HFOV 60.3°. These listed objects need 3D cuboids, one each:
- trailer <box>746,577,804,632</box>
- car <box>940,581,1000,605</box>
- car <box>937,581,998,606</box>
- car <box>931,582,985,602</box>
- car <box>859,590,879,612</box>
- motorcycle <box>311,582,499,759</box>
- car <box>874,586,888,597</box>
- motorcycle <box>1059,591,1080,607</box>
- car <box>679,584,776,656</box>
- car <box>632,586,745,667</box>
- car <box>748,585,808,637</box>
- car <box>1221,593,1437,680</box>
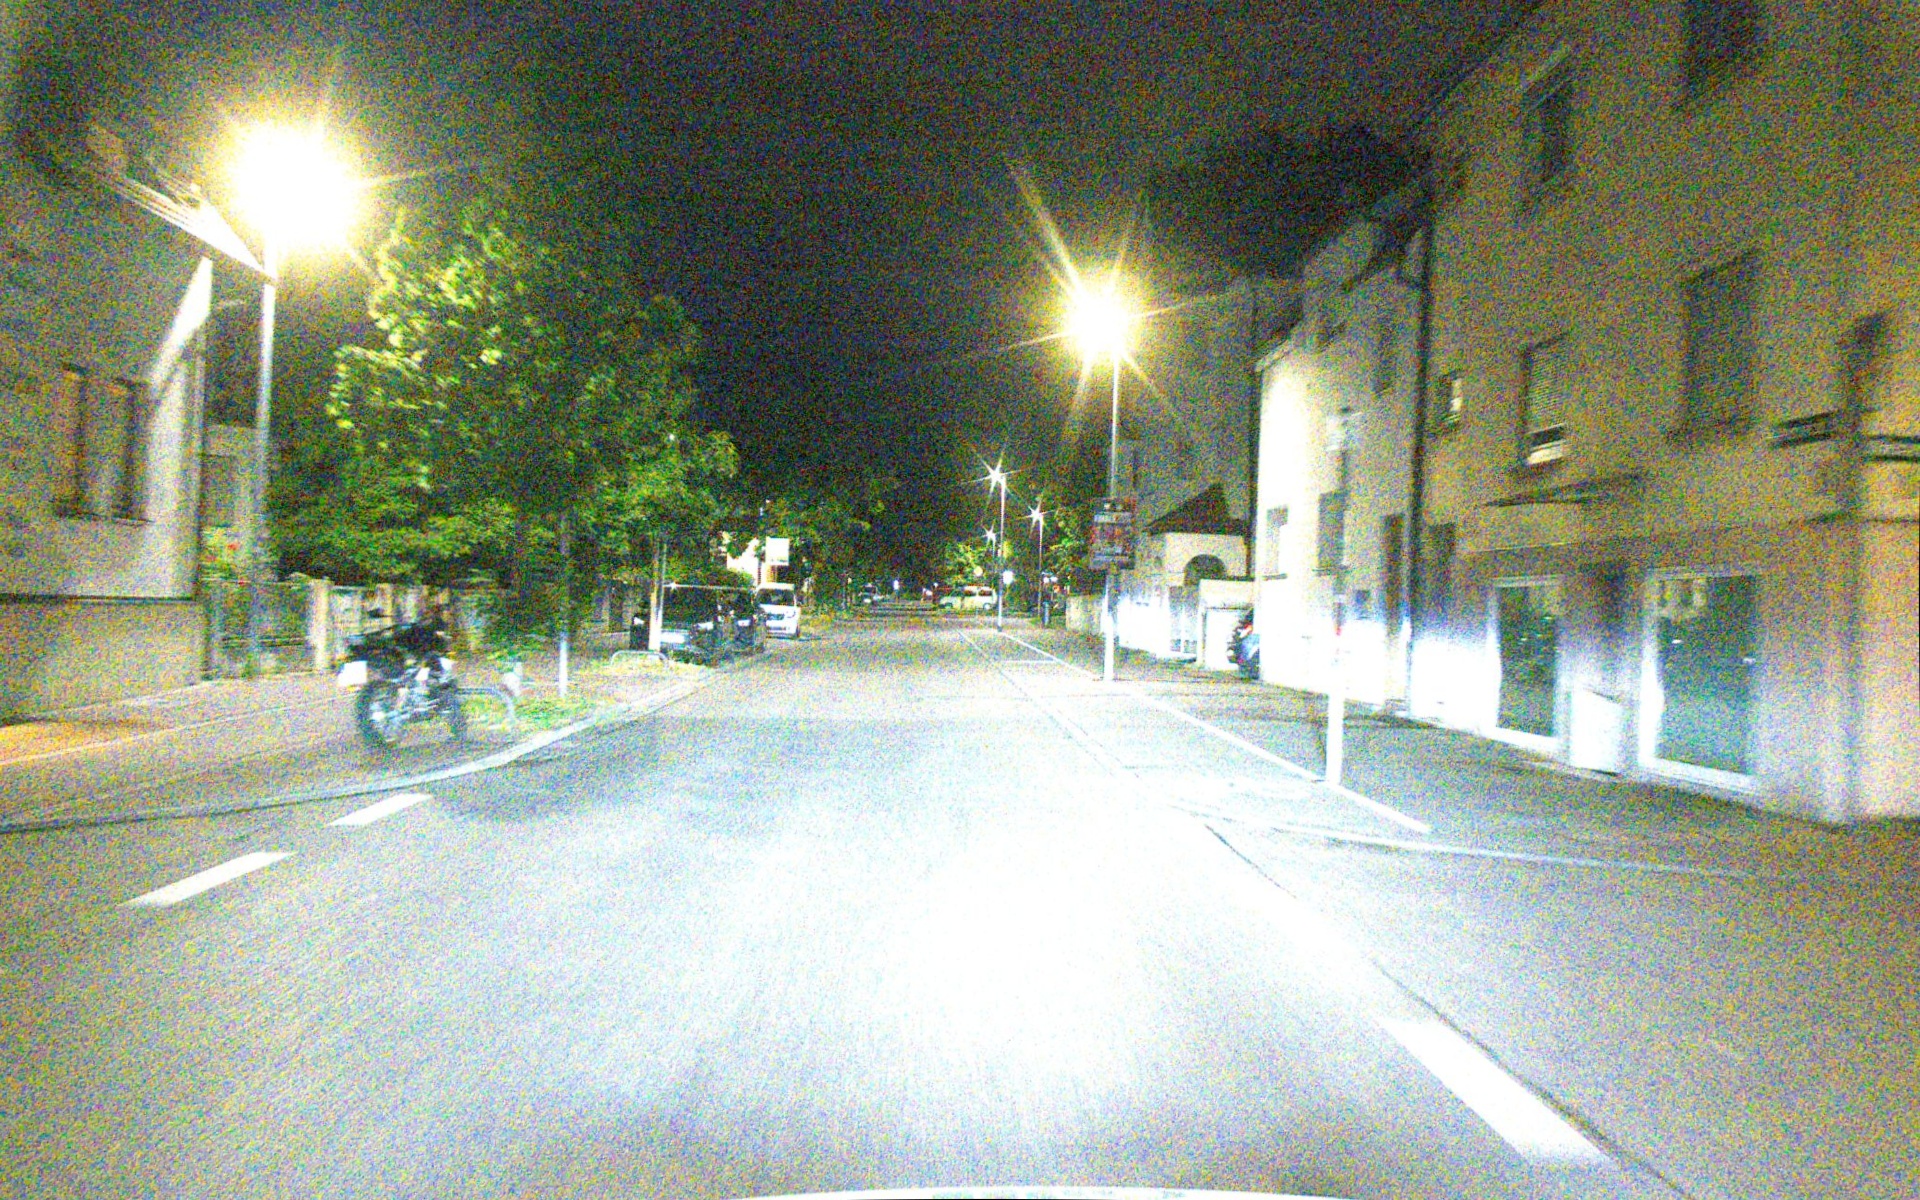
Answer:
[{"bbox_3d":[-6.261,0.144,56.235,1.418,1.717,3.426,3,0,1],"label":"trailer"},{"bbox_3d":[0.812,-0.631,142.614,5.079,2.049,2.100,0,0,-3],"label":"car"},{"bbox_3d":[0.635,-0.581,139.543,5.079,2.049,2.100,0,0,-3],"label":"car"},{"bbox_3d":[-0.182,-0.781,164.293,5.072,1.920,2.103,0,0,8],"label":"car"},{"bbox_3d":[-8.967,0.117,163.028,1.788,2.021,4.463,3,0,-3],"label":"car"},{"bbox_3d":[-4.972,0.588,14.994,0.730,1.477,2.197,1,0,7],"label":"motorcycle"},{"bbox_3d":[-10.121,-1.132,211.995,1.649,1.354,3.597,1,0,-3],"label":"car"},{"bbox_3d":[9.650,-0.126,145.818,1.048,1.350,2.707,1,1,22],"label":"motorcycle"},{"bbox_3d":[-5.424,0.422,39.061,1.731,1.545,4.277,2,0,-2],"label":"car"},{"bbox_3d":[-5.492,0.490,33.950,1.654,1.537,4.278,1,0,-1],"label":"car"},{"bbox_3d":[-5.807,0.330,53.073,1.638,1.548,2.977,3,0,-3],"label":"car"},{"bbox_3d":[6.796,0.659,30.734,3.634,1.499,1.731,1,0,1],"label":"car"}]
